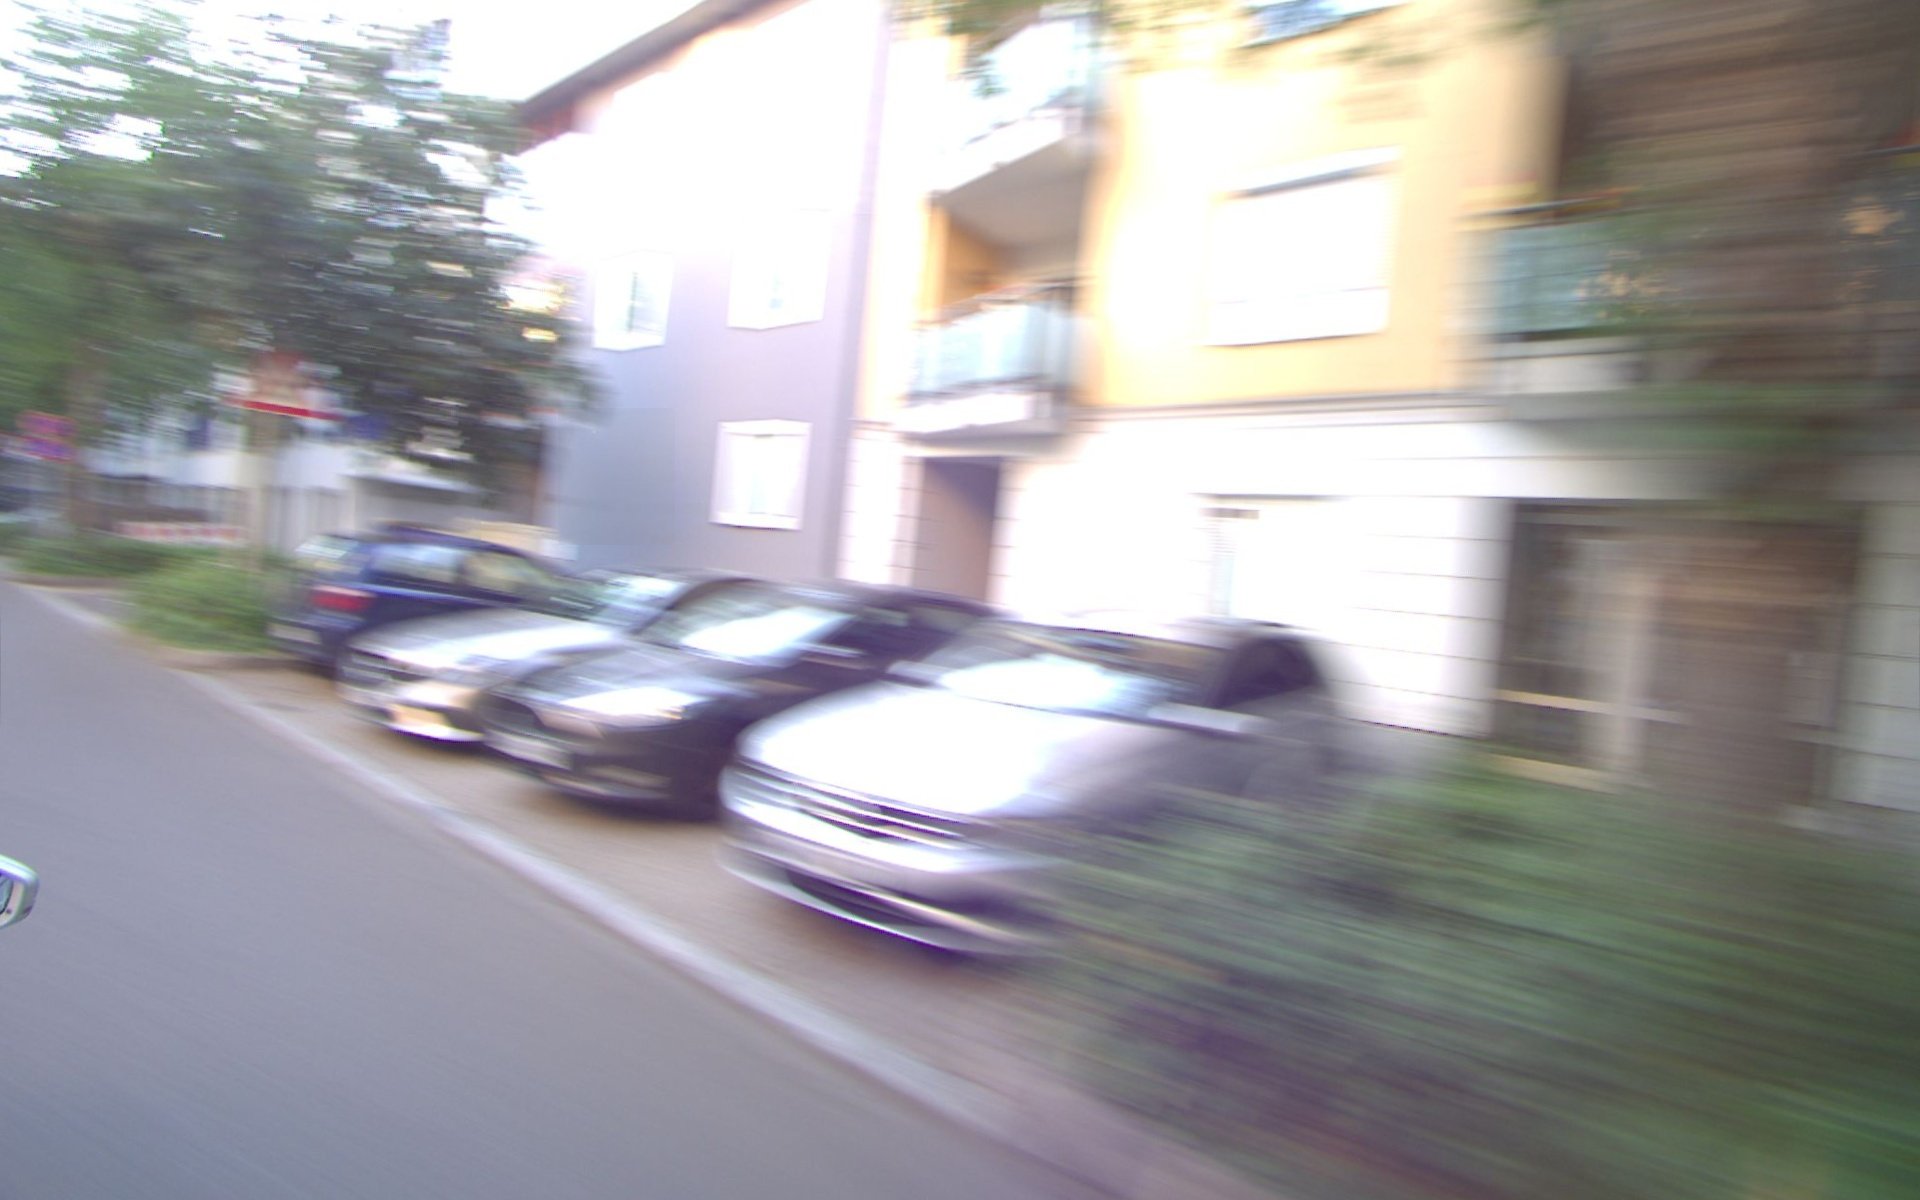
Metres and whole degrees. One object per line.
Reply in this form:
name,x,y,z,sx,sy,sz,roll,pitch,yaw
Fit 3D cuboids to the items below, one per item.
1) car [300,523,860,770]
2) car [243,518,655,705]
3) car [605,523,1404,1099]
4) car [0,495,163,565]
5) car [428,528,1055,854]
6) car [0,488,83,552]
car,-2.995,0.401,8.878,1.841,1.527,4.283,7,0,32
car,-5.123,0.116,10.350,1.722,1.546,3.342,7,3,41
car,0.756,0.787,5.551,1.809,1.725,4.791,7,0,38
car,-26.772,-2.107,30.009,1.607,1.611,4.427,7,0,42
car,-1.261,0.566,7.230,1.826,1.583,4.064,7,0,39
car,-36.200,-3.169,37.537,1.713,2.113,4.964,7,0,40
